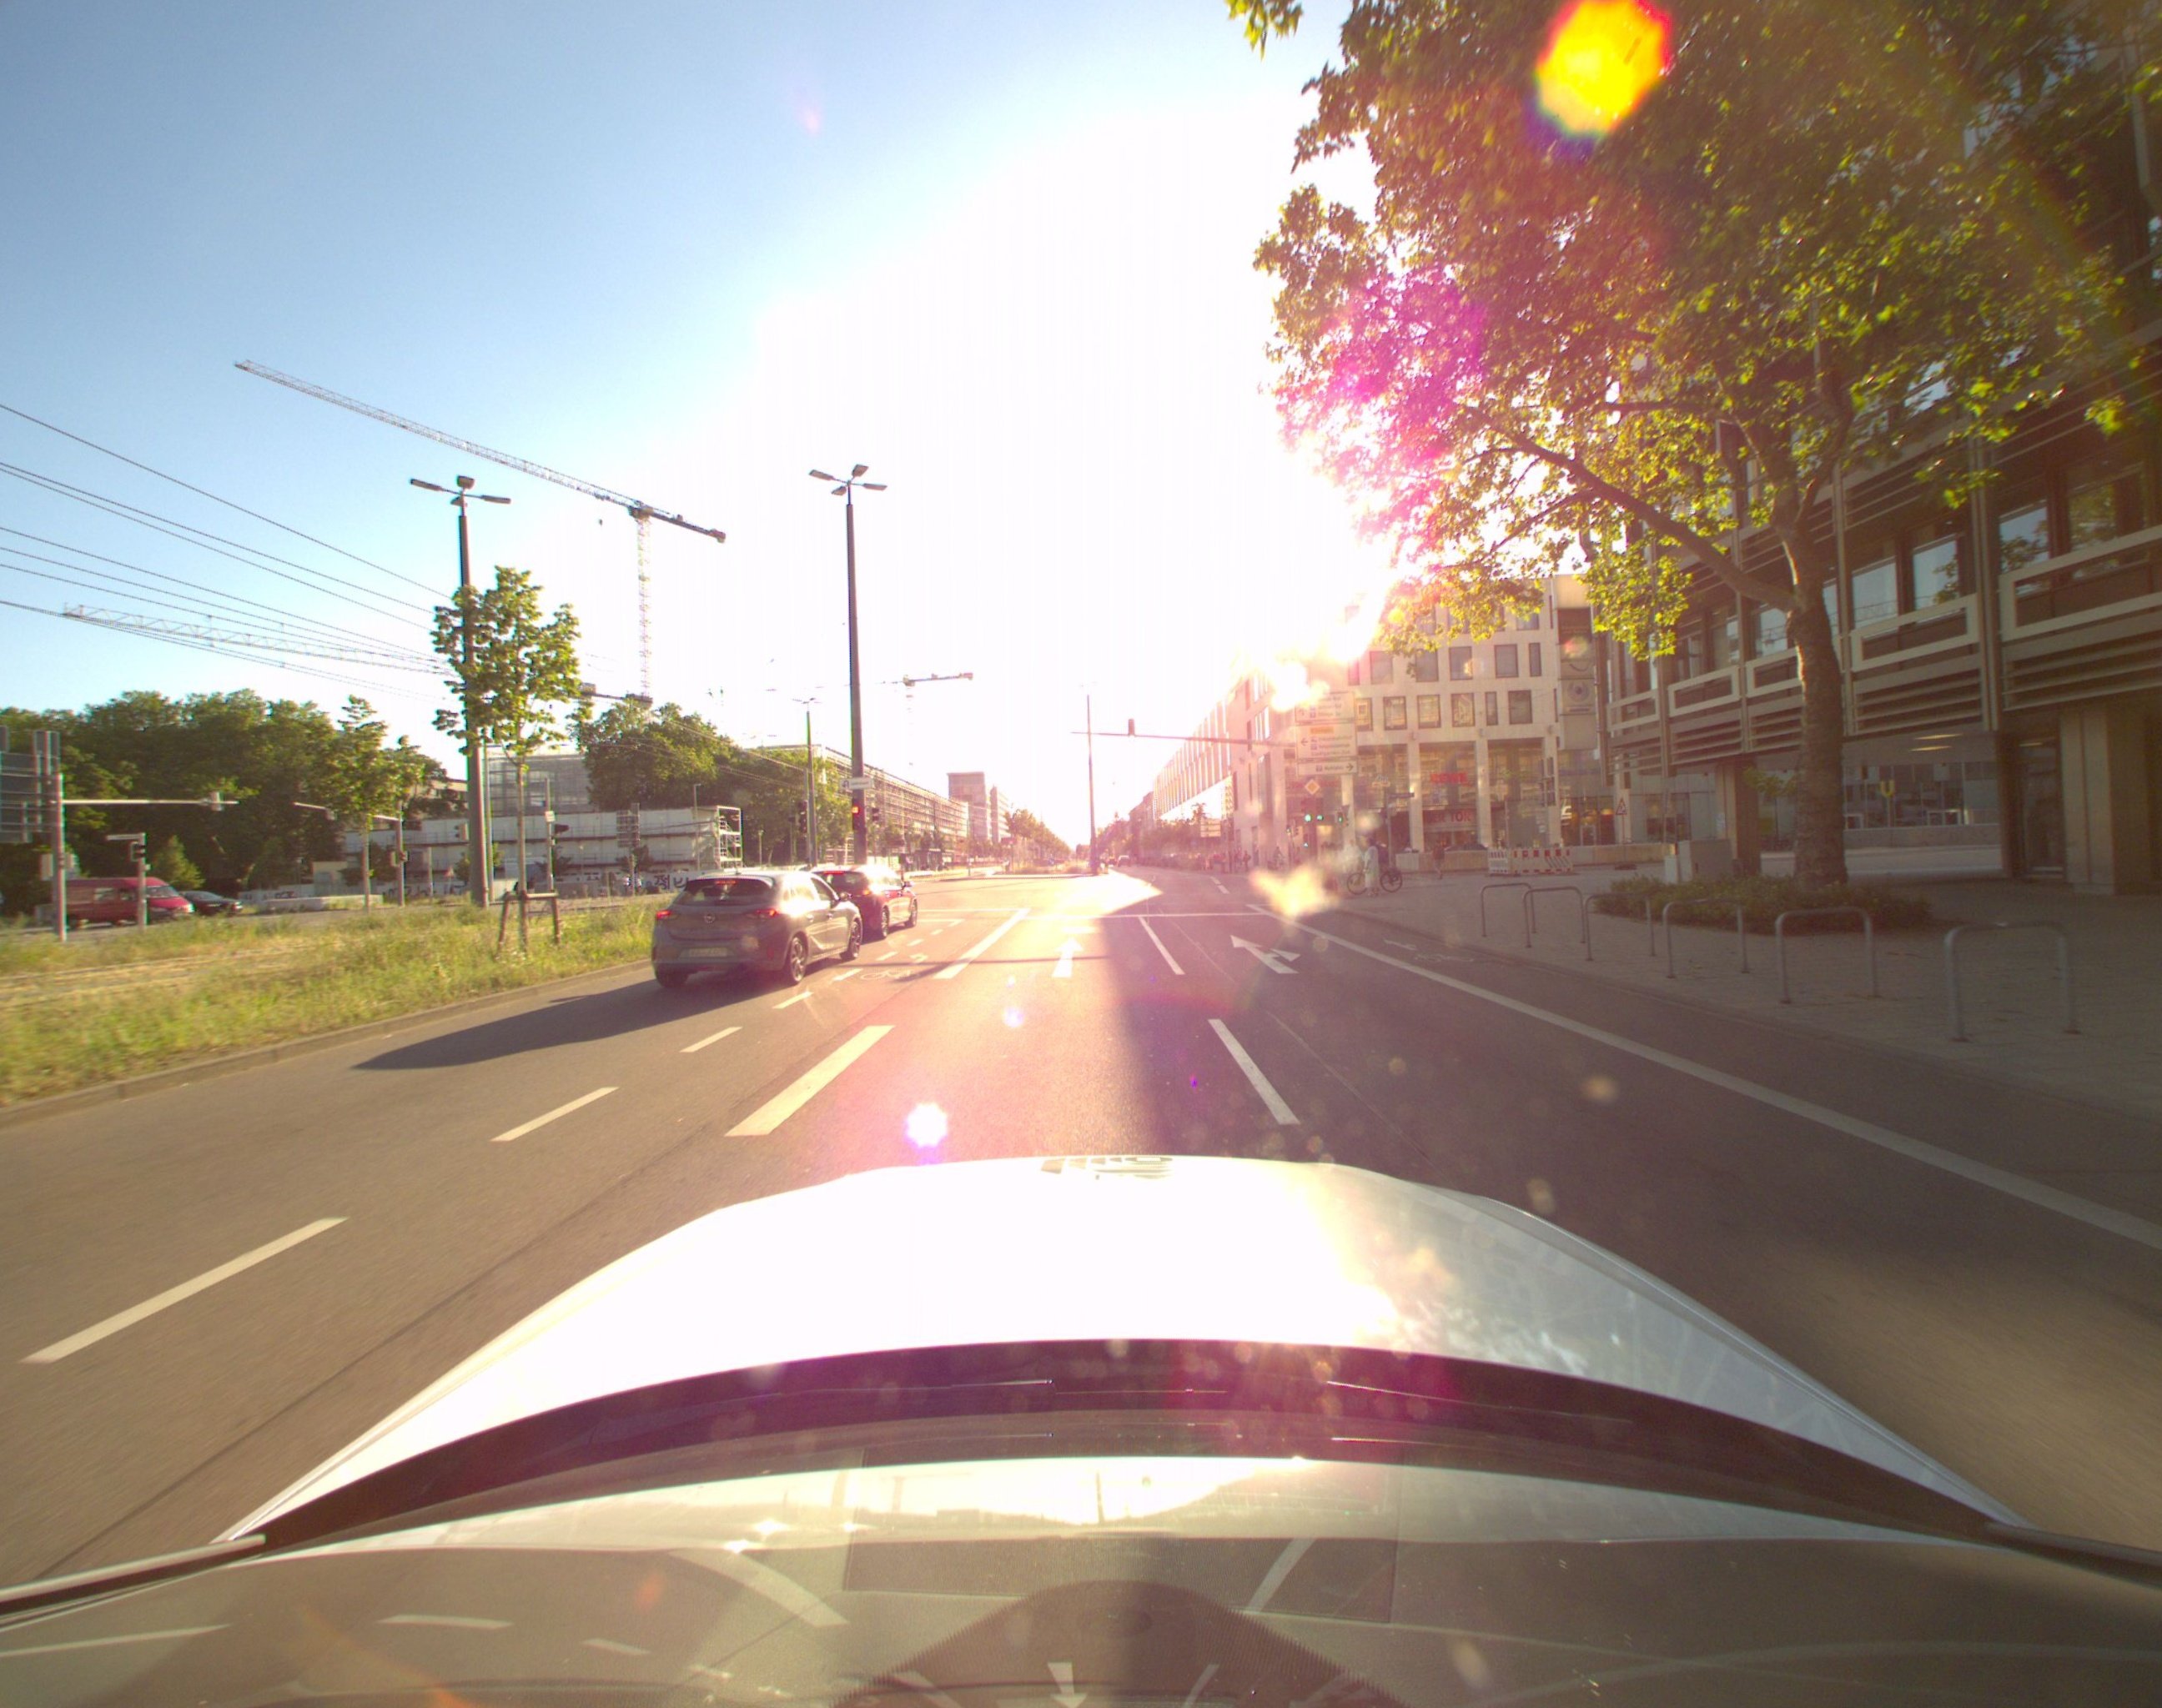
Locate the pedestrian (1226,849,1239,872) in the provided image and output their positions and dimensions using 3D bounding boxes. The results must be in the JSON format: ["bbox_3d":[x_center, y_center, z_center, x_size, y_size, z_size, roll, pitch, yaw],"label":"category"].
[{"bbox_3d":[11.736,0.501,63.167,0.813,1.734,0.791,-2,0,4],"label":"pedestrian"}]

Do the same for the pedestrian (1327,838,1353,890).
[{"bbox_3d":[10.741,0.404,33.769,0.762,2.060,0.798,-4,0,7],"label":"pedestrian"}]

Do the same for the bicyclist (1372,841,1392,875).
[{"bbox_3d":[13.801,0.187,37.346,0.576,1.522,0.750,-2,0,1],"label":"bicyclist"}]

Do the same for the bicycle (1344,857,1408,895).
[{"bbox_3d":[9.346,0.680,25.847,1.797,1.086,0.479,-4,0,2],"label":"bicycle"}]

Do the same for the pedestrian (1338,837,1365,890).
[{"bbox_3d":[10.889,0.379,32.820,0.762,2.060,0.798,-4,0,7],"label":"pedestrian"}]

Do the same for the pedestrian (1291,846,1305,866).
[{"bbox_3d":[17.674,0.179,66.355,0.866,1.585,0.825,-4,0,4],"label":"pedestrian"}]

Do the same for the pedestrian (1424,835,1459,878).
[{"bbox_3d":[14.801,0.116,33.495,0.906,1.703,1.114,-2,0,1],"label":"pedestrian"}]

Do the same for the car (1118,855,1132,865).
[{"bbox_3d":[6.991,0.964,128.979,1.934,1.428,3.923,-2,0,-1],"label":"car"}]

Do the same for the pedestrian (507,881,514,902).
[{"bbox_3d":[-39.392,2.587,56.218,0.272,1.465,0.279,-2,0,1],"label":"pedestrian"}]

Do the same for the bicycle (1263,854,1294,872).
[{"bbox_3d":[13.675,0.631,56.406,2.275,1.204,0.793,-2,0,-38],"label":"bicycle"}]

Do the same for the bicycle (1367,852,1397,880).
[{"bbox_3d":[13.820,0.516,37.447,0.589,1.232,2.154,-2,0,2],"label":"bicycle"}]

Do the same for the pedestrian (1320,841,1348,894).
[{"bbox_3d":[8.343,0.435,26.879,0.632,1.703,0.570,-4,0,1],"label":"pedestrian"}]

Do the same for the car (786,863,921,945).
[{"bbox_3d":[-4.597,0.943,17.034,1.698,1.428,3.925,-1,0,0],"label":"car"}]

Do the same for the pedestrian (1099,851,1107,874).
[{"bbox_3d":[1.721,0.654,63.323,0.492,1.743,0.446,-2,0,-10],"label":"pedestrian"}]

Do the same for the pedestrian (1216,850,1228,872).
[{"bbox_3d":[11.170,0.537,64.457,0.813,1.734,0.791,-2,0,4],"label":"pedestrian"}]

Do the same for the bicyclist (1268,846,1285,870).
[{"bbox_3d":[13.535,0.291,56.304,0.789,1.602,0.794,-2,0,-37],"label":"bicyclist"}]

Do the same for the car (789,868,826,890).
[{"bbox_3d":[-25.098,2.283,74.929,1.987,1.776,4.000,-2,0,0],"label":"car"}]

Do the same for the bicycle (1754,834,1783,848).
[{"bbox_3d":[46.480,-0.866,55.092,0.538,0.933,1.638,-2,0,0],"label":"bicycle"}]

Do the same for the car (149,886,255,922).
[{"bbox_3d":[-49.491,2.811,45.889,4.002,1.758,1.802,-2,0,2],"label":"car"}]

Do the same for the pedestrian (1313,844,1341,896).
[{"bbox_3d":[7.938,0.514,26.326,0.632,1.608,0.570,-4,0,1],"label":"pedestrian"}]

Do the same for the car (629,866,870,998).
[{"bbox_3d":[-4.344,0.925,11.421,1.772,1.428,3.998,-1,0,-1],"label":"car"}]

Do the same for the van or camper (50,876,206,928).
[{"bbox_3d":[-49.781,2.475,42.620,5.638,2.414,2.156,-2,0,2],"label":"van or camper"}]

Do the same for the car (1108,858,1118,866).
[{"bbox_3d":[6.042,1.565,154.192,1.698,1.428,3.923,-2,0,-1],"label":"car"}]

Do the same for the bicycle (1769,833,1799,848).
[{"bbox_3d":[47.839,-0.924,55.440,0.538,0.933,1.638,-2,0,0],"label":"bicycle"}]

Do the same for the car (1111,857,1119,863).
[{"bbox_3d":[7.969,1.430,192.747,1.698,1.428,3.923,-2,0,-1],"label":"car"}]

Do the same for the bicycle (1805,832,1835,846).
[{"bbox_3d":[50.396,-1.023,55.536,0.538,0.933,1.638,-2,0,0],"label":"bicycle"}]

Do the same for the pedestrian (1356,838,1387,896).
[{"bbox_3d":[8.853,0.380,24.830,0.632,1.703,0.570,-4,0,1],"label":"pedestrian"}]

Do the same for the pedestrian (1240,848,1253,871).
[{"bbox_3d":[13.045,0.432,64.153,0.813,1.734,0.791,-2,0,4],"label":"pedestrian"}]

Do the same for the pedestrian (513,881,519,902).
[{"bbox_3d":[-39.328,2.596,56.680,0.275,1.465,0.313,-2,-1,-35],"label":"pedestrian"}]
